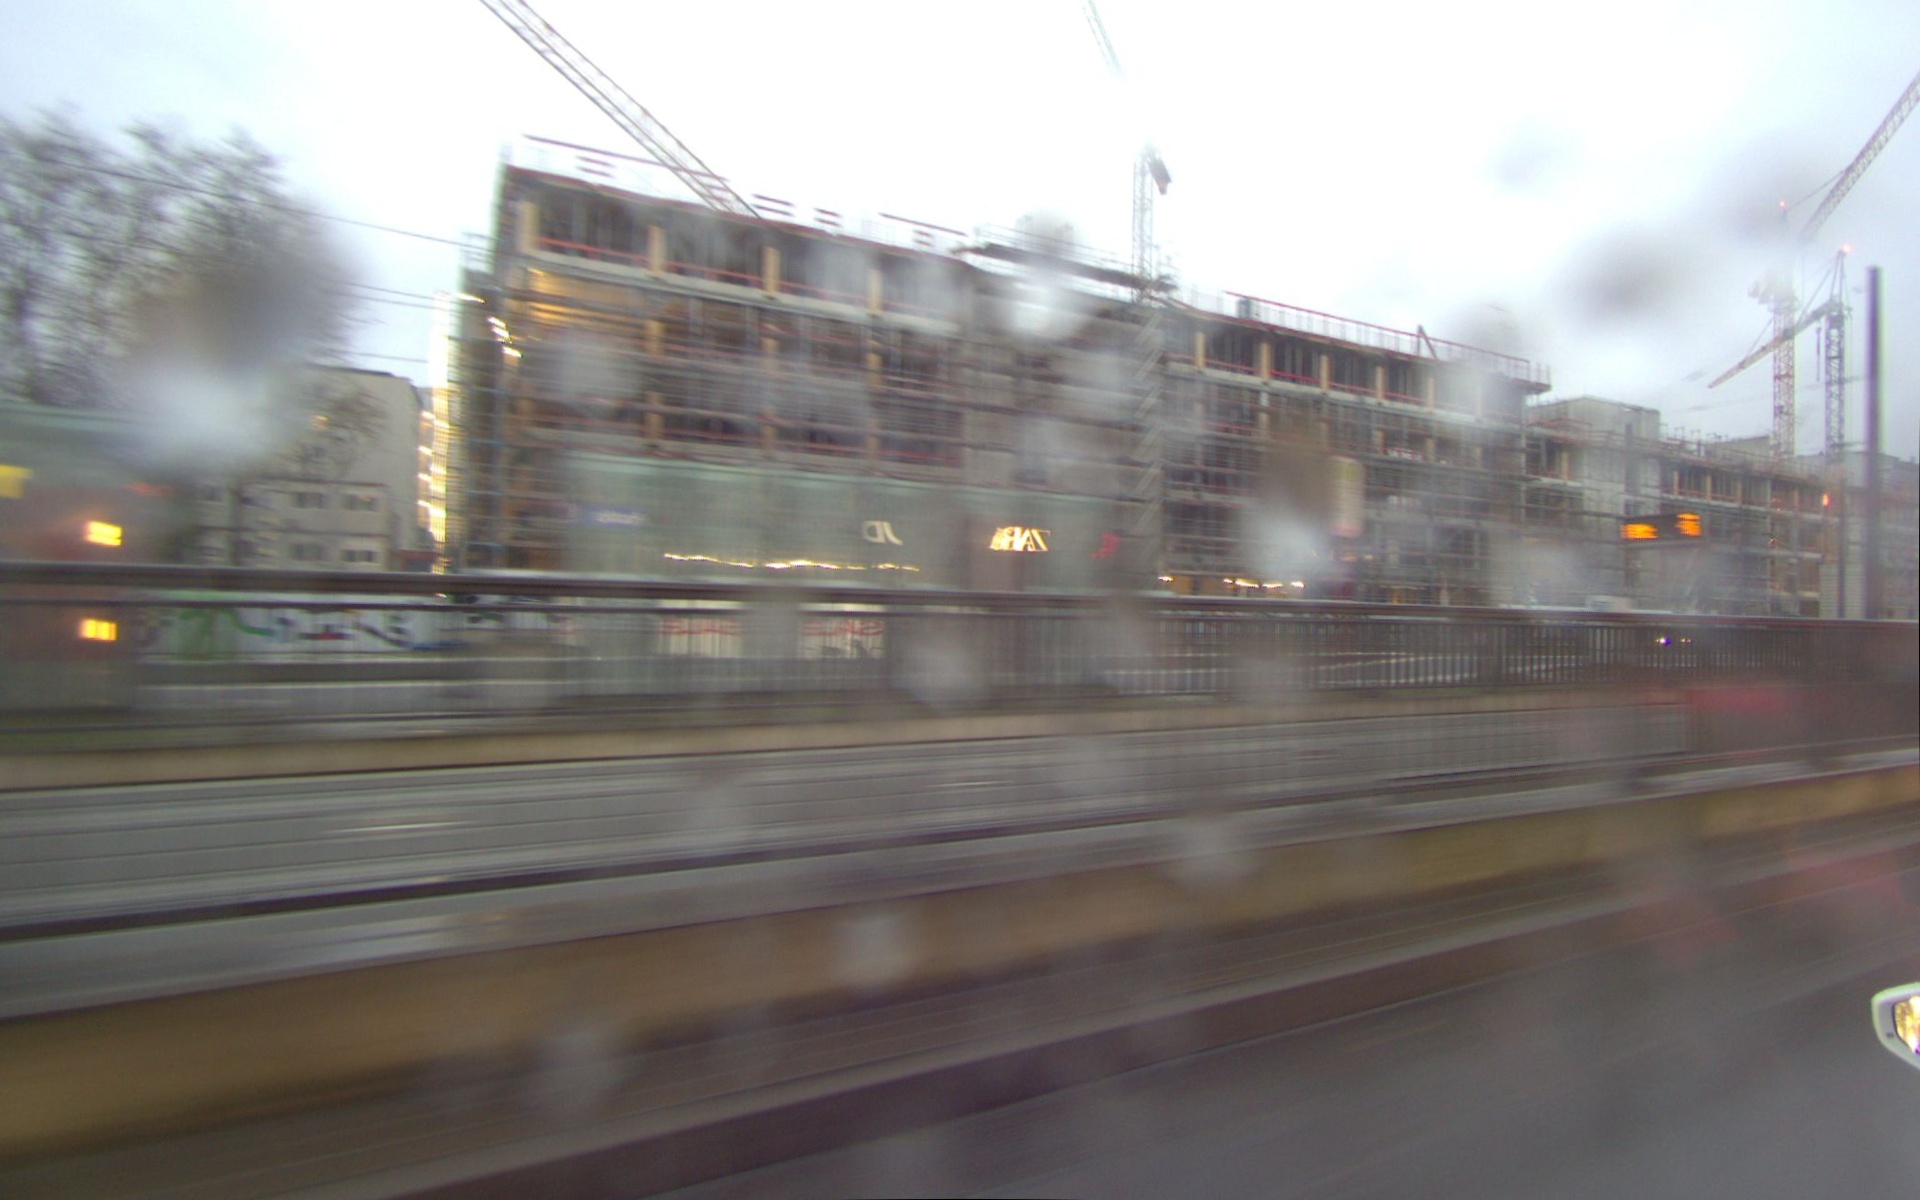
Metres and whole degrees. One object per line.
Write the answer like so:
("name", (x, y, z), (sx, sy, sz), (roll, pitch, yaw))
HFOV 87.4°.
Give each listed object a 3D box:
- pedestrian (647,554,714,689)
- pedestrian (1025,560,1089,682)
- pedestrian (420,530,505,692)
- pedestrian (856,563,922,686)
("pedestrian", (-3.375, 0.256, 12.109), (0.728, 1.571, 0.583), (1, 0, -18))
("pedestrian", (1.402, 0.303, 14.637), (0.728, 1.724, 0.583), (1, 0, -18))
("pedestrian", (-5.466, 0.126, 11.066), (0.728, 1.724, 0.583), (1, 0, -18))
("pedestrian", (-0.939, 0.318, 13.243), (0.728, 1.571, 0.583), (1, 0, -18))
